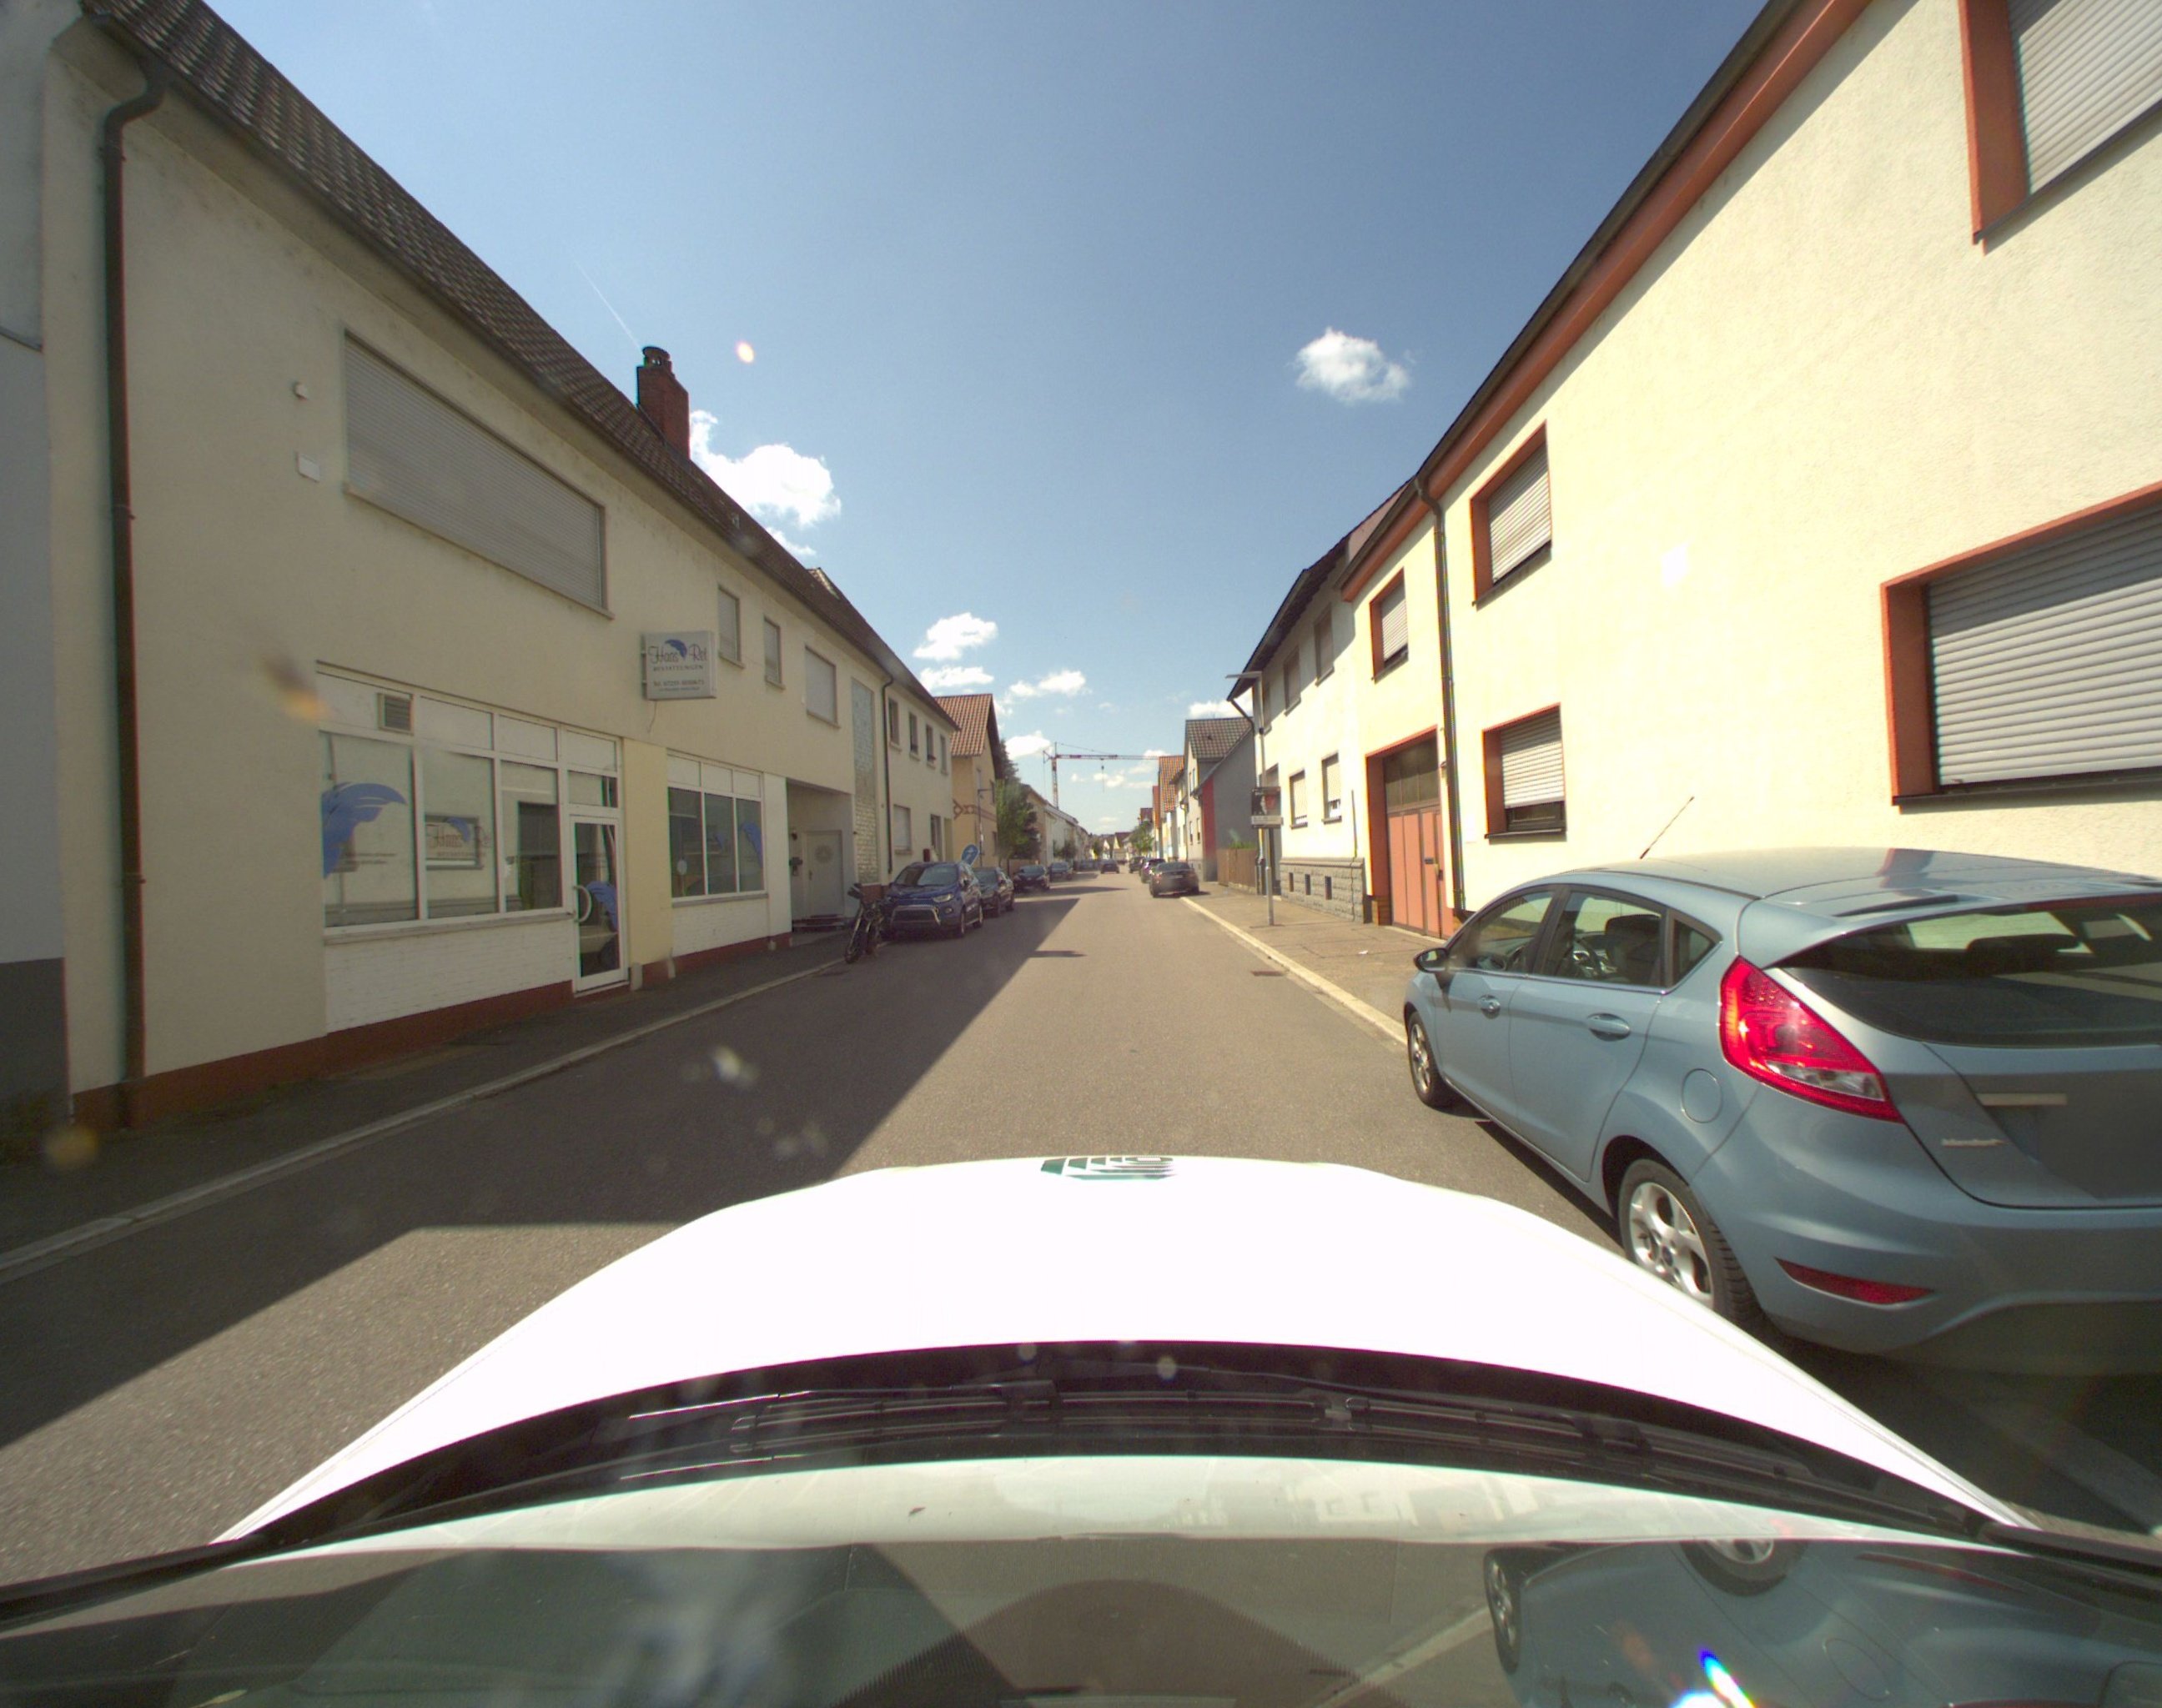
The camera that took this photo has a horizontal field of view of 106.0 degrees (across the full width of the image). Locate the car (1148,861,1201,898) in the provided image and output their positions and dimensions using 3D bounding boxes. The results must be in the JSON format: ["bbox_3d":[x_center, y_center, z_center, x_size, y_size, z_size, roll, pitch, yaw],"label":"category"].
[{"bbox_3d":[3.619,0.966,32.124,1.808,1.276,4.150,-2,0,3],"label":"car"}]

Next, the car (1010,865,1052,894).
[{"bbox_3d":[-2.577,1.291,42.943,1.754,1.374,4.068,-2,0,2],"label":"car"}]

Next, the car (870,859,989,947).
[{"bbox_3d":[-3.297,0.997,18.489,1.711,1.639,4.150,-4,0,1],"label":"car"}]

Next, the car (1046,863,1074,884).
[{"bbox_3d":[-1.603,1.485,63.695,1.760,1.460,4.441,-3,0,4],"label":"car"}]

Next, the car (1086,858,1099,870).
[{"bbox_3d":[1.691,1.483,119.976,1.647,1.609,4.063,-3,0,2],"label":"car"}]

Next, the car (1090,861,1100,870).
[{"bbox_3d":[2.765,2.214,159.348,1.716,1.555,4.175,-1,0,3],"label":"car"}]

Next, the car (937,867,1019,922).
[{"bbox_3d":[-3.034,1.170,24.926,1.691,1.411,4.393,-2,0,3],"label":"car"}]

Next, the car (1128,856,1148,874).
[{"bbox_3d":[5.640,1.075,81.115,1.723,1.717,4.275,-3,0,0],"label":"car"}]

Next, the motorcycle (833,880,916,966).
[{"bbox_3d":[-3.606,1.169,14.431,0.805,1.312,2.106,-2,0,2],"label":"motorcycle"}]

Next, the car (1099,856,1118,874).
[{"bbox_3d":[2.812,1.111,84.270,1.776,1.753,4.001,-4,-1,1],"label":"car"}]

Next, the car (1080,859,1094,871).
[{"bbox_3d":[0.856,1.514,113.196,1.752,1.525,4.291,-3,0,2],"label":"car"}]

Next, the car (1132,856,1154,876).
[{"bbox_3d":[5.177,0.990,68.511,1.611,1.495,3.974,-5,0,2],"label":"car"}]

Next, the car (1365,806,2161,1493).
[{"bbox_3d":[2.689,0.677,3.711,1.713,1.481,3.756,-6,-1,6],"label":"car"}]

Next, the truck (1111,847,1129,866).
[{"bbox_3d":[8.427,0.599,177.060,3.367,3.865,13.928,-4,-1,1],"label":"truck"}]

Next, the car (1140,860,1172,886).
[{"bbox_3d":[4.450,1.094,48.647,1.682,1.422,3.659,-3,0,2],"label":"car"}]
